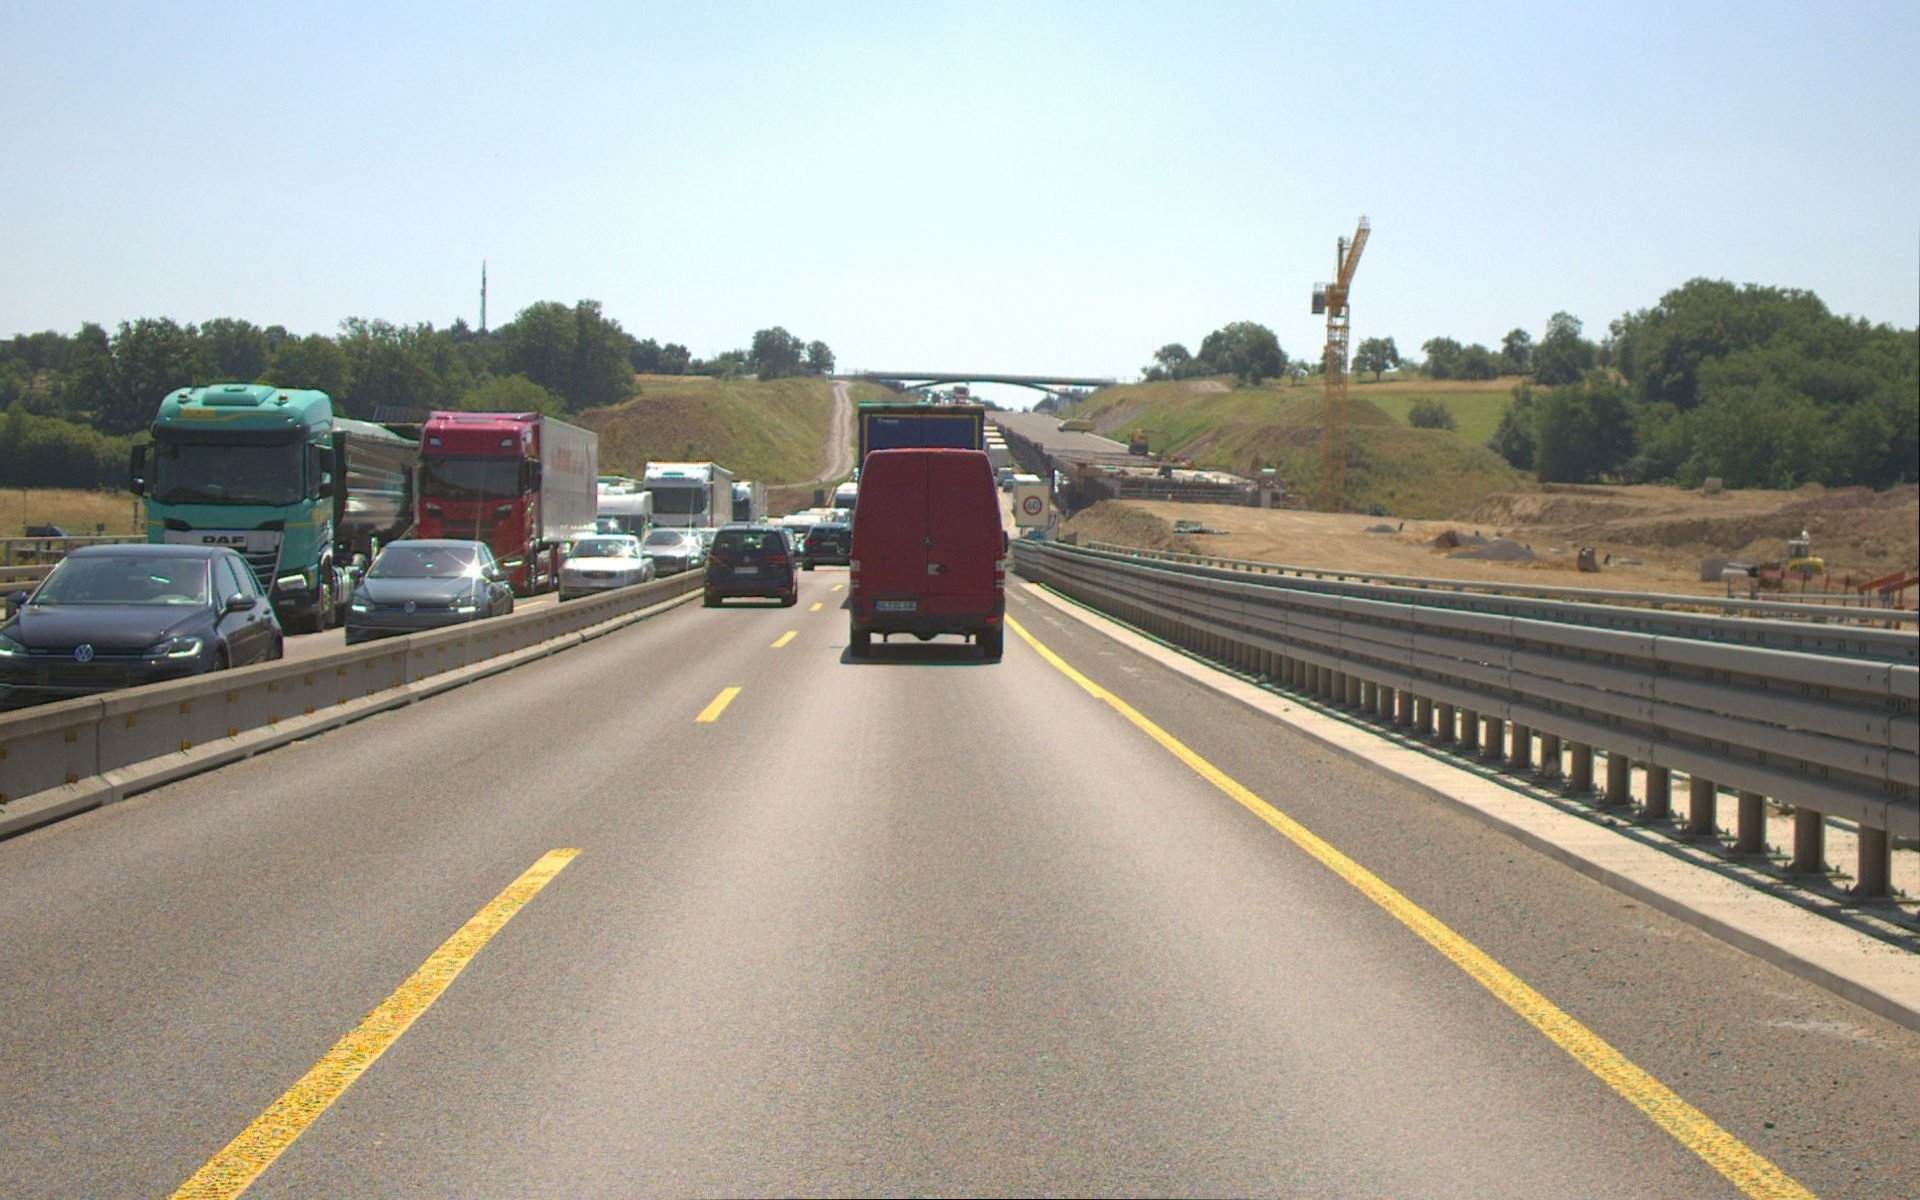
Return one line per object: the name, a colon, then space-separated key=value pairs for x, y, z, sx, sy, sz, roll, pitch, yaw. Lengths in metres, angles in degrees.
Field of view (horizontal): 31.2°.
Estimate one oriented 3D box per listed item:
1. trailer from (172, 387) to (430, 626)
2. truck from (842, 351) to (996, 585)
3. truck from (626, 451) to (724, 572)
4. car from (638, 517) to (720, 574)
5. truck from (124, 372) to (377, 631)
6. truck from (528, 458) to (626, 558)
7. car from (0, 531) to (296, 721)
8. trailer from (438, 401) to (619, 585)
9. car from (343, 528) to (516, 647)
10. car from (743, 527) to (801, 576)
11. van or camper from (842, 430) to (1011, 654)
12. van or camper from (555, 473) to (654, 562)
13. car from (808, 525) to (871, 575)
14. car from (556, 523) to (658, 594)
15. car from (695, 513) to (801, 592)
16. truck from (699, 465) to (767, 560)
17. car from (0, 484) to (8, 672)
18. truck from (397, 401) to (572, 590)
trailer: x=-10.931 y=-1.545 z=57.940 sx=2.794 sy=3.660 sz=8.958 roll=-1 pitch=1 yaw=-2
truck: x=-0.946 y=-2.757 z=73.040 sx=3.020 sy=4.677 sz=6.933 roll=-1 pitch=1 yaw=-2
truck: x=-10.965 y=-3.402 z=132.762 sx=3.078 sy=4.521 sz=7.103 roll=1 pitch=1 yaw=1
car: x=-7.471 y=-1.470 z=91.792 sx=1.890 sy=1.482 sz=4.920 roll=0 pitch=1 yaw=-1
truck: x=-10.786 y=-1.485 z=52.773 sx=2.796 sy=3.709 sz=5.375 roll=-1 pitch=1 yaw=-1
truck: x=-15.035 y=-3.649 z=135.557 sx=2.904 sy=3.752 sz=8.368 roll=1 pitch=2 yaw=0
car: x=-6.648 y=0.158 z=28.081 sx=1.679 sy=1.387 sz=4.156 roll=-1 pitch=1 yaw=-1
trailer: x=-10.447 y=-2.645 z=84.422 sx=2.806 sy=4.162 sz=11.799 roll=1 pitch=2 yaw=1
car: x=-6.754 y=-0.198 z=44.131 sx=1.631 sy=1.403 sz=4.103 roll=-1 pitch=1 yaw=-1
car: x=-6.689 y=-1.749 z=122.534 sx=1.847 sy=1.682 sz=4.619 roll=-1 pitch=1 yaw=-1
van or camper: x=-0.489 y=-0.774 z=44.766 sx=2.029 sy=2.735 sz=4.516 roll=1 pitch=1 yaw=-2
van or camper: x=-11.171 y=-2.606 z=108.419 sx=2.503 sy=2.689 sz=5.244 roll=1 pitch=1 yaw=0
car: x=-4.013 y=-1.679 z=114.965 sx=2.012 sy=1.539 sz=4.133 roll=2 pitch=2 yaw=-1
car: x=-7.275 y=-0.876 z=71.140 sx=1.781 sy=1.375 sz=4.712 roll=-1 pitch=1 yaw=-2
car: x=-4.298 y=-0.995 z=70.199 sx=2.012 sy=1.539 sz=4.133 roll=1 pitch=1 yaw=-2
truck: x=-10.722 y=-4.135 z=162.812 sx=2.806 sy=4.377 sz=6.225 roll=0 pitch=1 yaw=0
car: x=-10.432 y=-0.166 z=32.043 sx=1.859 sy=1.861 sz=4.630 roll=0 pitch=1 yaw=-1
truck: x=-10.601 y=-2.359 z=77.199 sx=2.816 sy=4.023 sz=6.523 roll=1 pitch=2 yaw=2
